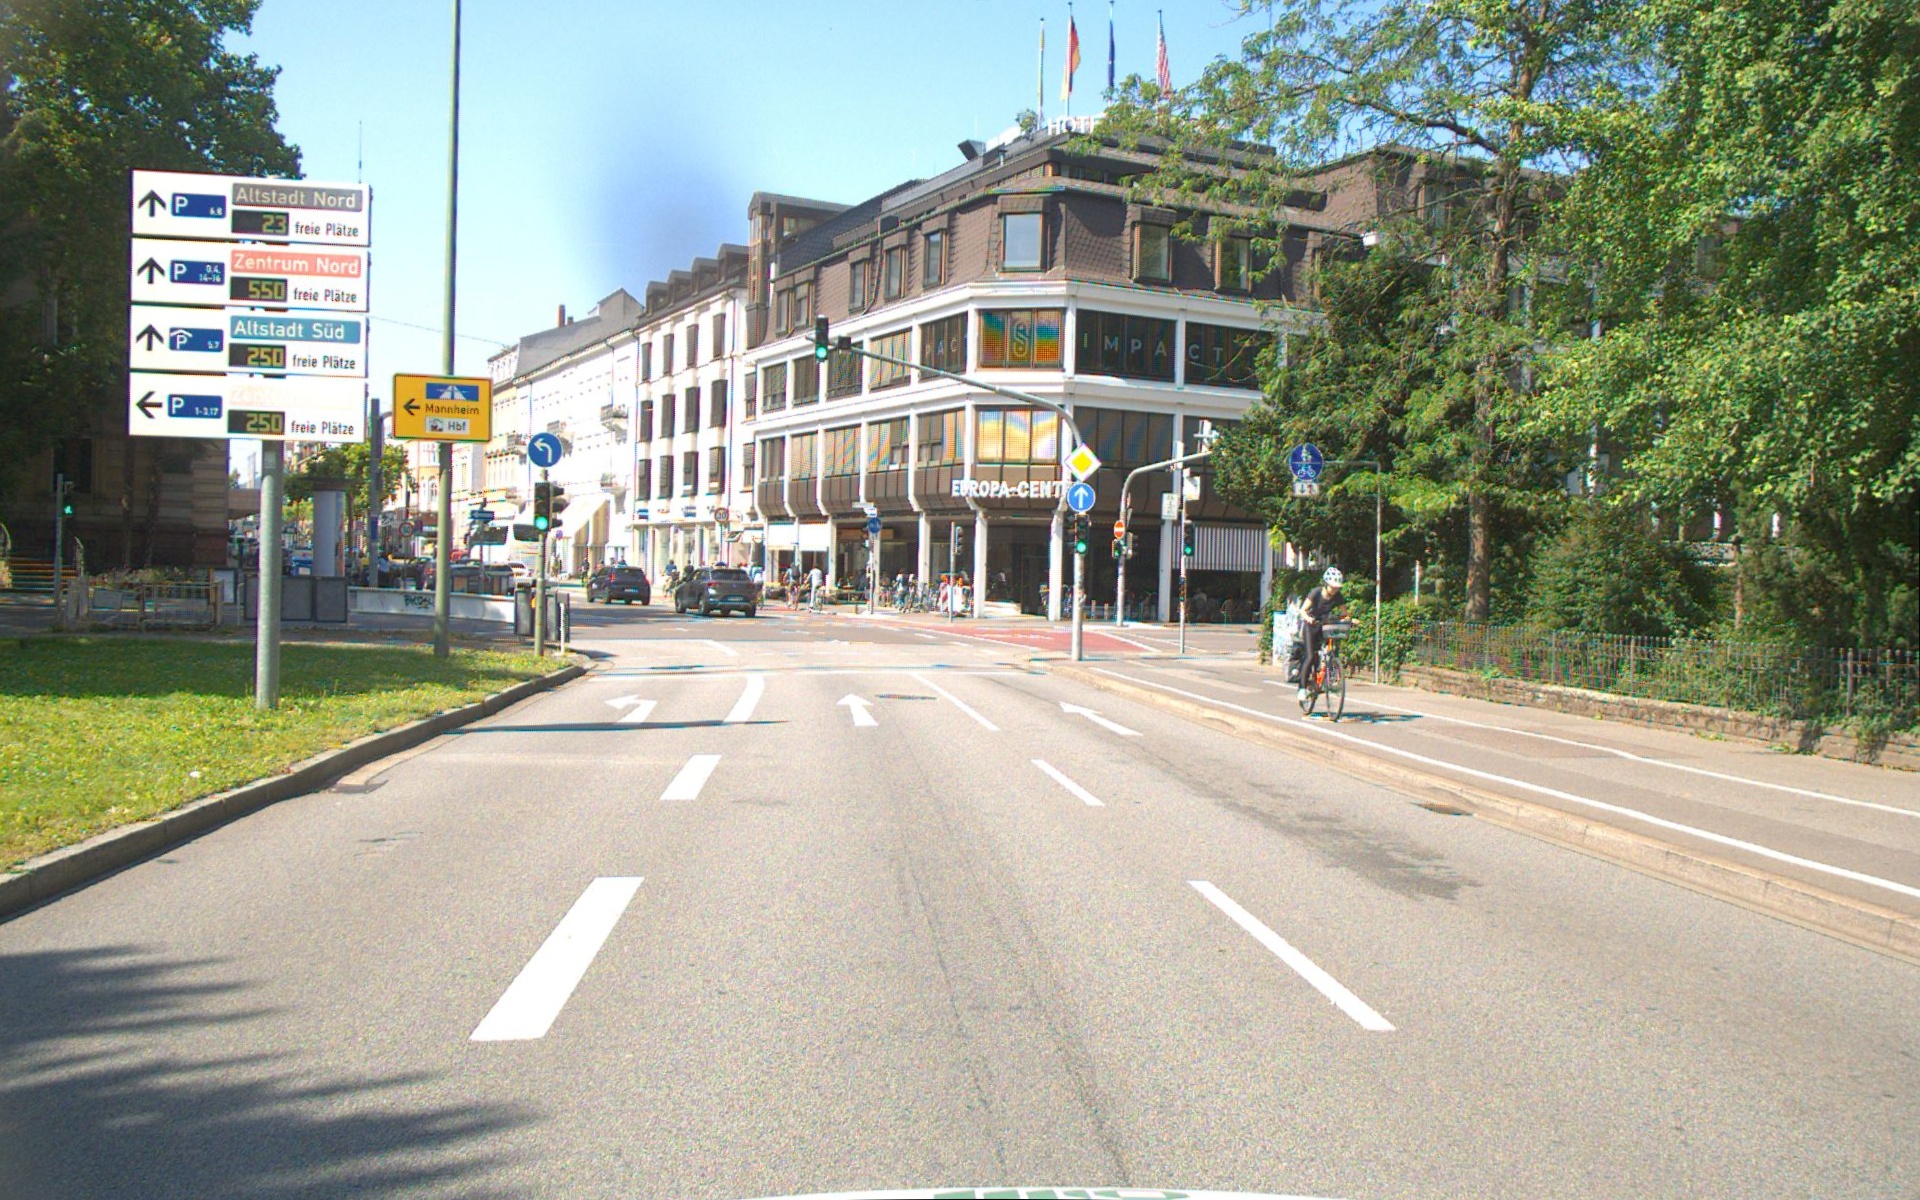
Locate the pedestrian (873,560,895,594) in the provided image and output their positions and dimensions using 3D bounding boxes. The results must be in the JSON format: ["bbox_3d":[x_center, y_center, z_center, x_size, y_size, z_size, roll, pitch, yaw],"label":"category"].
[{"bbox_3d":[-3.285,-0.980,71.272,0.703,1.421,0.690,1,0,-28],"label":"pedestrian"}]

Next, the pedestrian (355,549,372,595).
[{"bbox_3d":[-22.408,-1.033,62.102,0.540,1.694,0.932,1,0,-18],"label":"pedestrian"}]

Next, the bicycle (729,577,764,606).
[{"bbox_3d":[-8.612,-0.347,66.599,0.613,1.118,2.331,2,1,-28],"label":"bicycle"}]

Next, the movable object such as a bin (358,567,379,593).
[{"bbox_3d":[-26.789,-0.914,74.949,0.716,1.117,0.649,3,1,-34],"label":"movable object such as a bin"}]

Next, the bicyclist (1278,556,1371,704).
[{"bbox_3d":[4.186,0.339,19.058,0.750,1.664,0.941,1,0,-8],"label":"bicyclist"}]

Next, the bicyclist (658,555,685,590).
[{"bbox_3d":[-13.691,-1.298,78.507,0.971,1.627,1.046,2,0,-27],"label":"bicyclist"}]

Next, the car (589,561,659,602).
[{"bbox_3d":[-13.283,-0.730,65.203,1.810,1.554,3.968,-1,1,-25],"label":"car"}]

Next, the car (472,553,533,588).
[{"bbox_3d":[-19.888,-1.304,71.835,1.841,1.466,3.966,1,1,-27],"label":"car"}]

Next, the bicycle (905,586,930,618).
[{"bbox_3d":[-1.588,0.069,62.091,0.272,1.140,2.232,1,2,-18],"label":"bicycle"}]

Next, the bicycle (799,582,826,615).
[{"bbox_3d":[-5.494,-0.067,61.444,0.585,1.140,1.792,1,1,-18],"label":"bicycle"}]

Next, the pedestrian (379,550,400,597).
[{"bbox_3d":[-21.377,-0.984,61.999,0.685,1.725,0.685,1,0,-24],"label":"pedestrian"}]

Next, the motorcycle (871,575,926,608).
[{"bbox_3d":[-2.514,-0.355,67.664,2.189,1.313,0.949,1,0,1],"label":"motorcycle"}]

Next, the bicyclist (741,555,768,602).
[{"bbox_3d":[-7.808,-0.822,62.749,0.686,1.702,0.908,3,1,-26],"label":"bicyclist"}]

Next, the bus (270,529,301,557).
[{"bbox_3d":[-92.513,-7.834,226.753,2.740,3.667,8.887,1,2,-29],"label":"bus"}]

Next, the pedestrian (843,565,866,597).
[{"bbox_3d":[-4.699,-0.841,73.830,0.804,1.421,0.690,1,0,-29],"label":"pedestrian"}]

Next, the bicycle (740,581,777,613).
[{"bbox_3d":[-7.624,-0.111,62.463,0.656,1.140,2.225,2,1,-26],"label":"bicycle"}]

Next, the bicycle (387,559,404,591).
[{"bbox_3d":[-21.214,-0.931,62.200,0.422,1.140,2.234,3,-1,-15],"label":"bicycle"}]

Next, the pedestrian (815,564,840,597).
[{"bbox_3d":[-6.200,-0.911,77.379,0.867,1.391,0.532,9,-3,-28],"label":"pedestrian"}]

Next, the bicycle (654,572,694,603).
[{"bbox_3d":[-13.564,-0.604,78.360,0.966,1.410,2.975,1,1,-27],"label":"bicycle"}]

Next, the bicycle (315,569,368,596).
[{"bbox_3d":[-26.344,-0.758,70.466,1.949,1.035,0.662,3,-1,-38],"label":"bicycle"}]

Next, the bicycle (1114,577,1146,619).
[{"bbox_3d":[6.193,-0.093,60.268,0.519,1.447,1.966,2,2,24],"label":"bicycle"}]

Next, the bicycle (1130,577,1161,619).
[{"bbox_3d":[6.753,-0.077,60.096,0.519,1.447,1.966,2,2,24],"label":"bicycle"}]

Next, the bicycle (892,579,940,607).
[{"bbox_3d":[-1.754,-0.274,65.945,2.222,1.116,0.273,1,1,-41],"label":"bicycle"}]

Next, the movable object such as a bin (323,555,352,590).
[{"bbox_3d":[-28.588,-1.275,75.970,1.191,1.476,1.356,3,1,-21],"label":"movable object such as a bin"}]

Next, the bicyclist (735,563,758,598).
[{"bbox_3d":[-8.598,-0.785,66.575,0.613,1.378,0.839,1,0,-28],"label":"bicyclist"}]

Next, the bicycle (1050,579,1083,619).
[{"bbox_3d":[3.763,-0.039,58.455,0.519,1.339,1.858,2,2,24],"label":"bicycle"}]

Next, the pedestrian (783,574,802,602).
[{"bbox_3d":[-7.397,-0.528,72.997,0.700,1.193,0.693,1,0,-18],"label":"pedestrian"}]

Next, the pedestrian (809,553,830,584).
[{"bbox_3d":[-6.660,-1.473,78.246,0.736,1.390,0.579,-6,4,-28],"label":"pedestrian"}]

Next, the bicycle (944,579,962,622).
[{"bbox_3d":[-0.260,0.024,58.836,0.368,1.507,1.059,-4,-1,9],"label":"bicycle"}]

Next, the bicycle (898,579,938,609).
[{"bbox_3d":[-1.624,-0.247,64.168,1.547,1.140,0.276,0,2,-21],"label":"bicycle"}]

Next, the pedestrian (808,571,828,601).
[{"bbox_3d":[-6.670,-0.644,77.653,0.752,1.391,0.474,1,1,-28],"label":"pedestrian"}]

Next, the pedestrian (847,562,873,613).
[{"bbox_3d":[-3.698,-0.464,61.219,0.820,1.868,0.693,1,0,-18],"label":"pedestrian"}]

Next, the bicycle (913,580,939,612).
[{"bbox_3d":[-1.284,-0.146,62.399,0.272,1.140,2.231,1,2,-20],"label":"bicycle"}]

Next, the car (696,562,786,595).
[{"bbox_3d":[-10.561,-1.019,79.793,3.994,1.521,1.827,0,-1,-26],"label":"car"}]

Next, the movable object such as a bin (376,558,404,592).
[{"bbox_3d":[-26.446,-1.151,76.693,1.107,1.476,1.430,3,1,-21],"label":"movable object such as a bin"}]

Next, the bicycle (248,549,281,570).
[{"bbox_3d":[-48.302,-2.803,114.859,2.047,1.311,0.363,4,-1,-35],"label":"bicycle"}]

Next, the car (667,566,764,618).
[{"bbox_3d":[-7.859,-0.275,52.975,1.813,1.554,3.962,-1,1,-29],"label":"car"}]

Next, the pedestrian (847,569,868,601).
[{"bbox_3d":[-4.510,-0.650,72.983,0.703,1.421,0.690,1,0,-28],"label":"pedestrian"}]

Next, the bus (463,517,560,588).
[{"bbox_3d":[-26.752,-2.871,98.128,2.848,3.807,12.317,3,0,-27],"label":"bus"}]

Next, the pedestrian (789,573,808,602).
[{"bbox_3d":[-7.048,-0.546,72.221,0.700,1.238,0.693,1,0,-18],"label":"pedestrian"}]

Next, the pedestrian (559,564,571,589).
[{"bbox_3d":[-26.121,-1.543,109.335,0.637,1.645,0.816,2,0,-24],"label":"pedestrian"}]

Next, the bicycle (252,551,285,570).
[{"bbox_3d":[-47.229,-2.690,112.952,2.040,1.150,0.613,4,-1,-26],"label":"bicycle"}]

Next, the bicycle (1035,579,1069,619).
[{"bbox_3d":[3.273,-0.043,58.618,0.519,1.339,1.966,2,2,24],"label":"bicycle"}]

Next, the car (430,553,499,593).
[{"bbox_3d":[-18.766,-1.046,62.512,1.912,1.378,4.216,0,2,-25],"label":"car"}]

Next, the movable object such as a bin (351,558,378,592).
[{"bbox_3d":[-27.480,-1.162,76.280,1.107,1.476,1.430,3,1,-21],"label":"movable object such as a bin"}]

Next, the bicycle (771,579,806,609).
[{"bbox_3d":[-6.686,-0.250,64.462,0.612,1.118,2.334,2,1,-25],"label":"bicycle"}]

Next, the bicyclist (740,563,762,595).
[{"bbox_3d":[-8.790,-0.884,69.536,0.613,1.319,0.859,1,0,-28],"label":"bicyclist"}]

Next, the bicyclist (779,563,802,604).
[{"bbox_3d":[-6.579,-0.640,64.207,0.612,1.556,0.862,2,0,-25],"label":"bicyclist"}]

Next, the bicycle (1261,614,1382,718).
[{"bbox_3d":[4.161,0.736,19.189,0.743,1.140,1.998,1,0,-7],"label":"bicycle"}]

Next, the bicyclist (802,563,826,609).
[{"bbox_3d":[-5.395,-0.521,61.066,0.684,1.654,0.831,1,1,-19],"label":"bicyclist"}]

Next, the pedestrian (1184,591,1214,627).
[{"bbox_3d":[9.102,0.339,62.972,0.810,1.358,0.970,2,1,27],"label":"pedestrian"}]

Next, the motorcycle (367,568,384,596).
[{"bbox_3d":[-22.016,-0.669,62.288,0.446,1.015,2.150,3,0,-17],"label":"motorcycle"}]

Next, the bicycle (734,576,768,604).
[{"bbox_3d":[-8.792,-0.414,69.513,0.613,1.118,2.331,1,1,-28],"label":"bicycle"}]

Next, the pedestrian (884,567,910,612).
[{"bbox_3d":[-2.393,-0.398,62.440,0.820,1.692,0.693,1,0,-18],"label":"pedestrian"}]

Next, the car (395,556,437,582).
[{"bbox_3d":[-32.881,-1.866,99.938,1.841,1.466,3.965,1,0,-27],"label":"car"}]

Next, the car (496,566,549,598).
[{"bbox_3d":[-21.976,-0.906,82.981,1.811,1.554,3.965,-1,1,-27],"label":"car"}]
